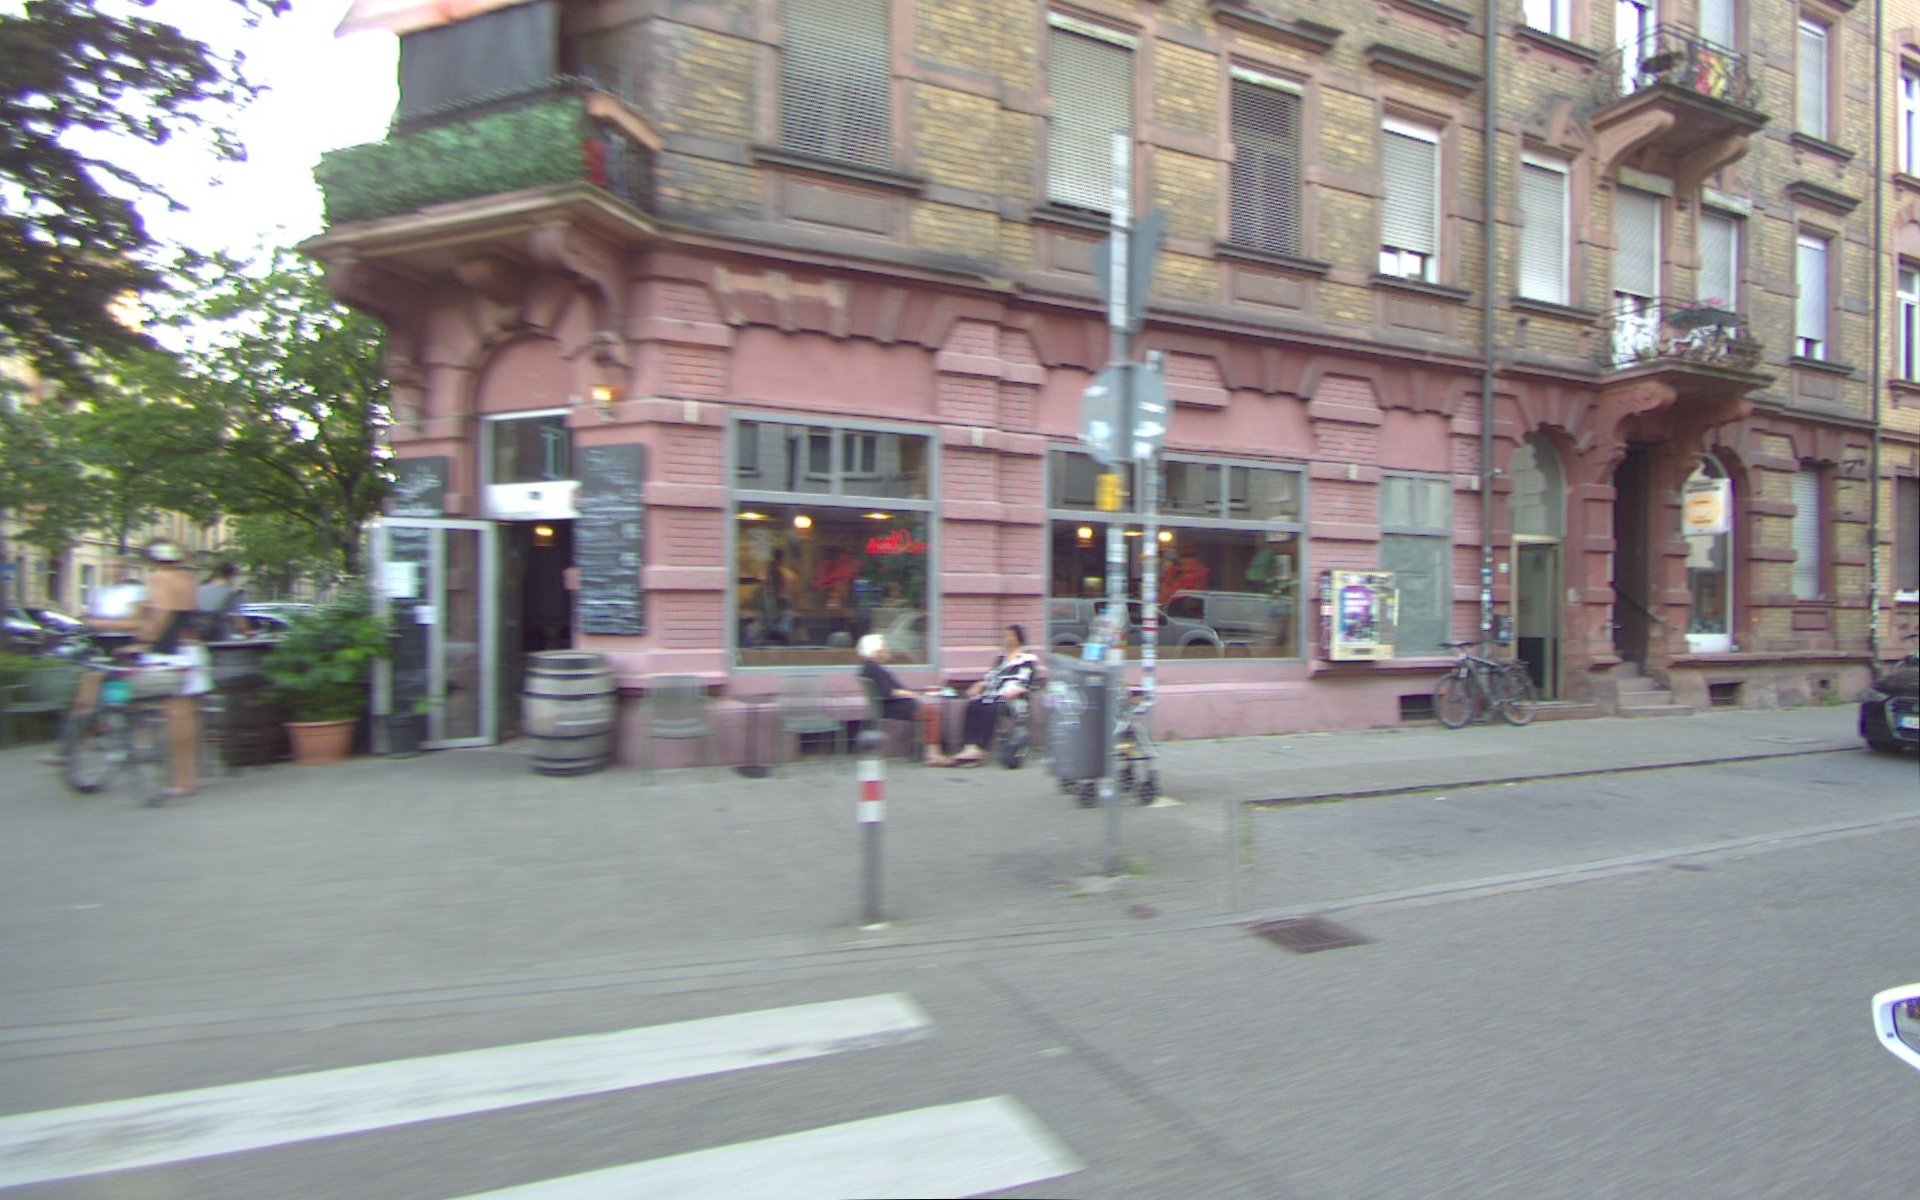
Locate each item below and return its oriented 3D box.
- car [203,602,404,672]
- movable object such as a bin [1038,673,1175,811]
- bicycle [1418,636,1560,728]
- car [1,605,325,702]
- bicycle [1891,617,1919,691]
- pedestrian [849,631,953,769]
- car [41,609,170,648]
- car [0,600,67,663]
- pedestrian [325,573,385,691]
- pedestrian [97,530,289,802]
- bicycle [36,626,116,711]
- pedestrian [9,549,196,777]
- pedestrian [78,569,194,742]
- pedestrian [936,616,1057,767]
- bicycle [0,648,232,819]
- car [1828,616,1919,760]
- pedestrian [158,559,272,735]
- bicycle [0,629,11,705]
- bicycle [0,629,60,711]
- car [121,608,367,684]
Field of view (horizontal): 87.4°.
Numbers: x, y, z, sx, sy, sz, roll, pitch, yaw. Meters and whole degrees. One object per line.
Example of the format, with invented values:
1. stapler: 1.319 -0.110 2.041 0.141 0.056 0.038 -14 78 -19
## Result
1. car: -18.297 1.042 28.261 4.412 1.824 1.965 2 0 -25
2. movable object such as a bin: 1.115 1.056 7.718 0.720 0.928 0.758 2 0 -27
3. bicycle: 6.558 0.996 12.434 1.869 1.067 0.425 1 0 -21
4. car: -14.792 0.989 19.002 4.412 1.647 1.878 2 0 -25
5. bicycle: 16.524 0.891 16.800 2.017 1.187 0.526 0 2 -21
6. pedestrian: -0.527 0.870 8.927 0.780 1.158 0.502 2 0 -22
7. car: -36.010 1.215 42.441 3.759 1.528 1.711 2 -2 -24
8. car: -30.351 0.893 29.970 5.032 1.854 2.108 2 -2 -21
9. pedestrian: -9.332 0.481 15.528 0.686 1.748 0.846 -2 2 -28
10. pedestrian: -5.700 0.456 7.483 1.003 1.880 0.724 0 1 27
11. bicycle: -14.099 1.053 16.061 0.680 1.219 1.795 -1 1 -33
12. pedestrian: -7.386 0.502 8.718 0.742 1.836 1.047 -2 1 -11
13. pedestrian: -9.087 0.582 11.113 0.748 1.815 0.782 -2 1 -26
14. pedestrian: 0.341 0.810 9.286 0.900 1.271 0.642 -1 3 -39
15. bicycle: -6.012 0.892 7.129 1.742 1.039 0.612 -1 1 27
16. car: 11.473 0.907 10.781 3.797 1.439 1.690 0 0 -21
17. pedestrian: -8.261 0.487 11.185 0.747 1.853 0.883 -2 1 -22
18. bicycle: -15.161 1.053 15.289 0.699 1.192 1.935 -1 0 -33
19. bicycle: -14.593 1.065 15.649 0.579 1.173 1.791 -1 0 -33
20. car: -16.745 1.089 23.805 4.412 1.647 1.878 2 0 -25
